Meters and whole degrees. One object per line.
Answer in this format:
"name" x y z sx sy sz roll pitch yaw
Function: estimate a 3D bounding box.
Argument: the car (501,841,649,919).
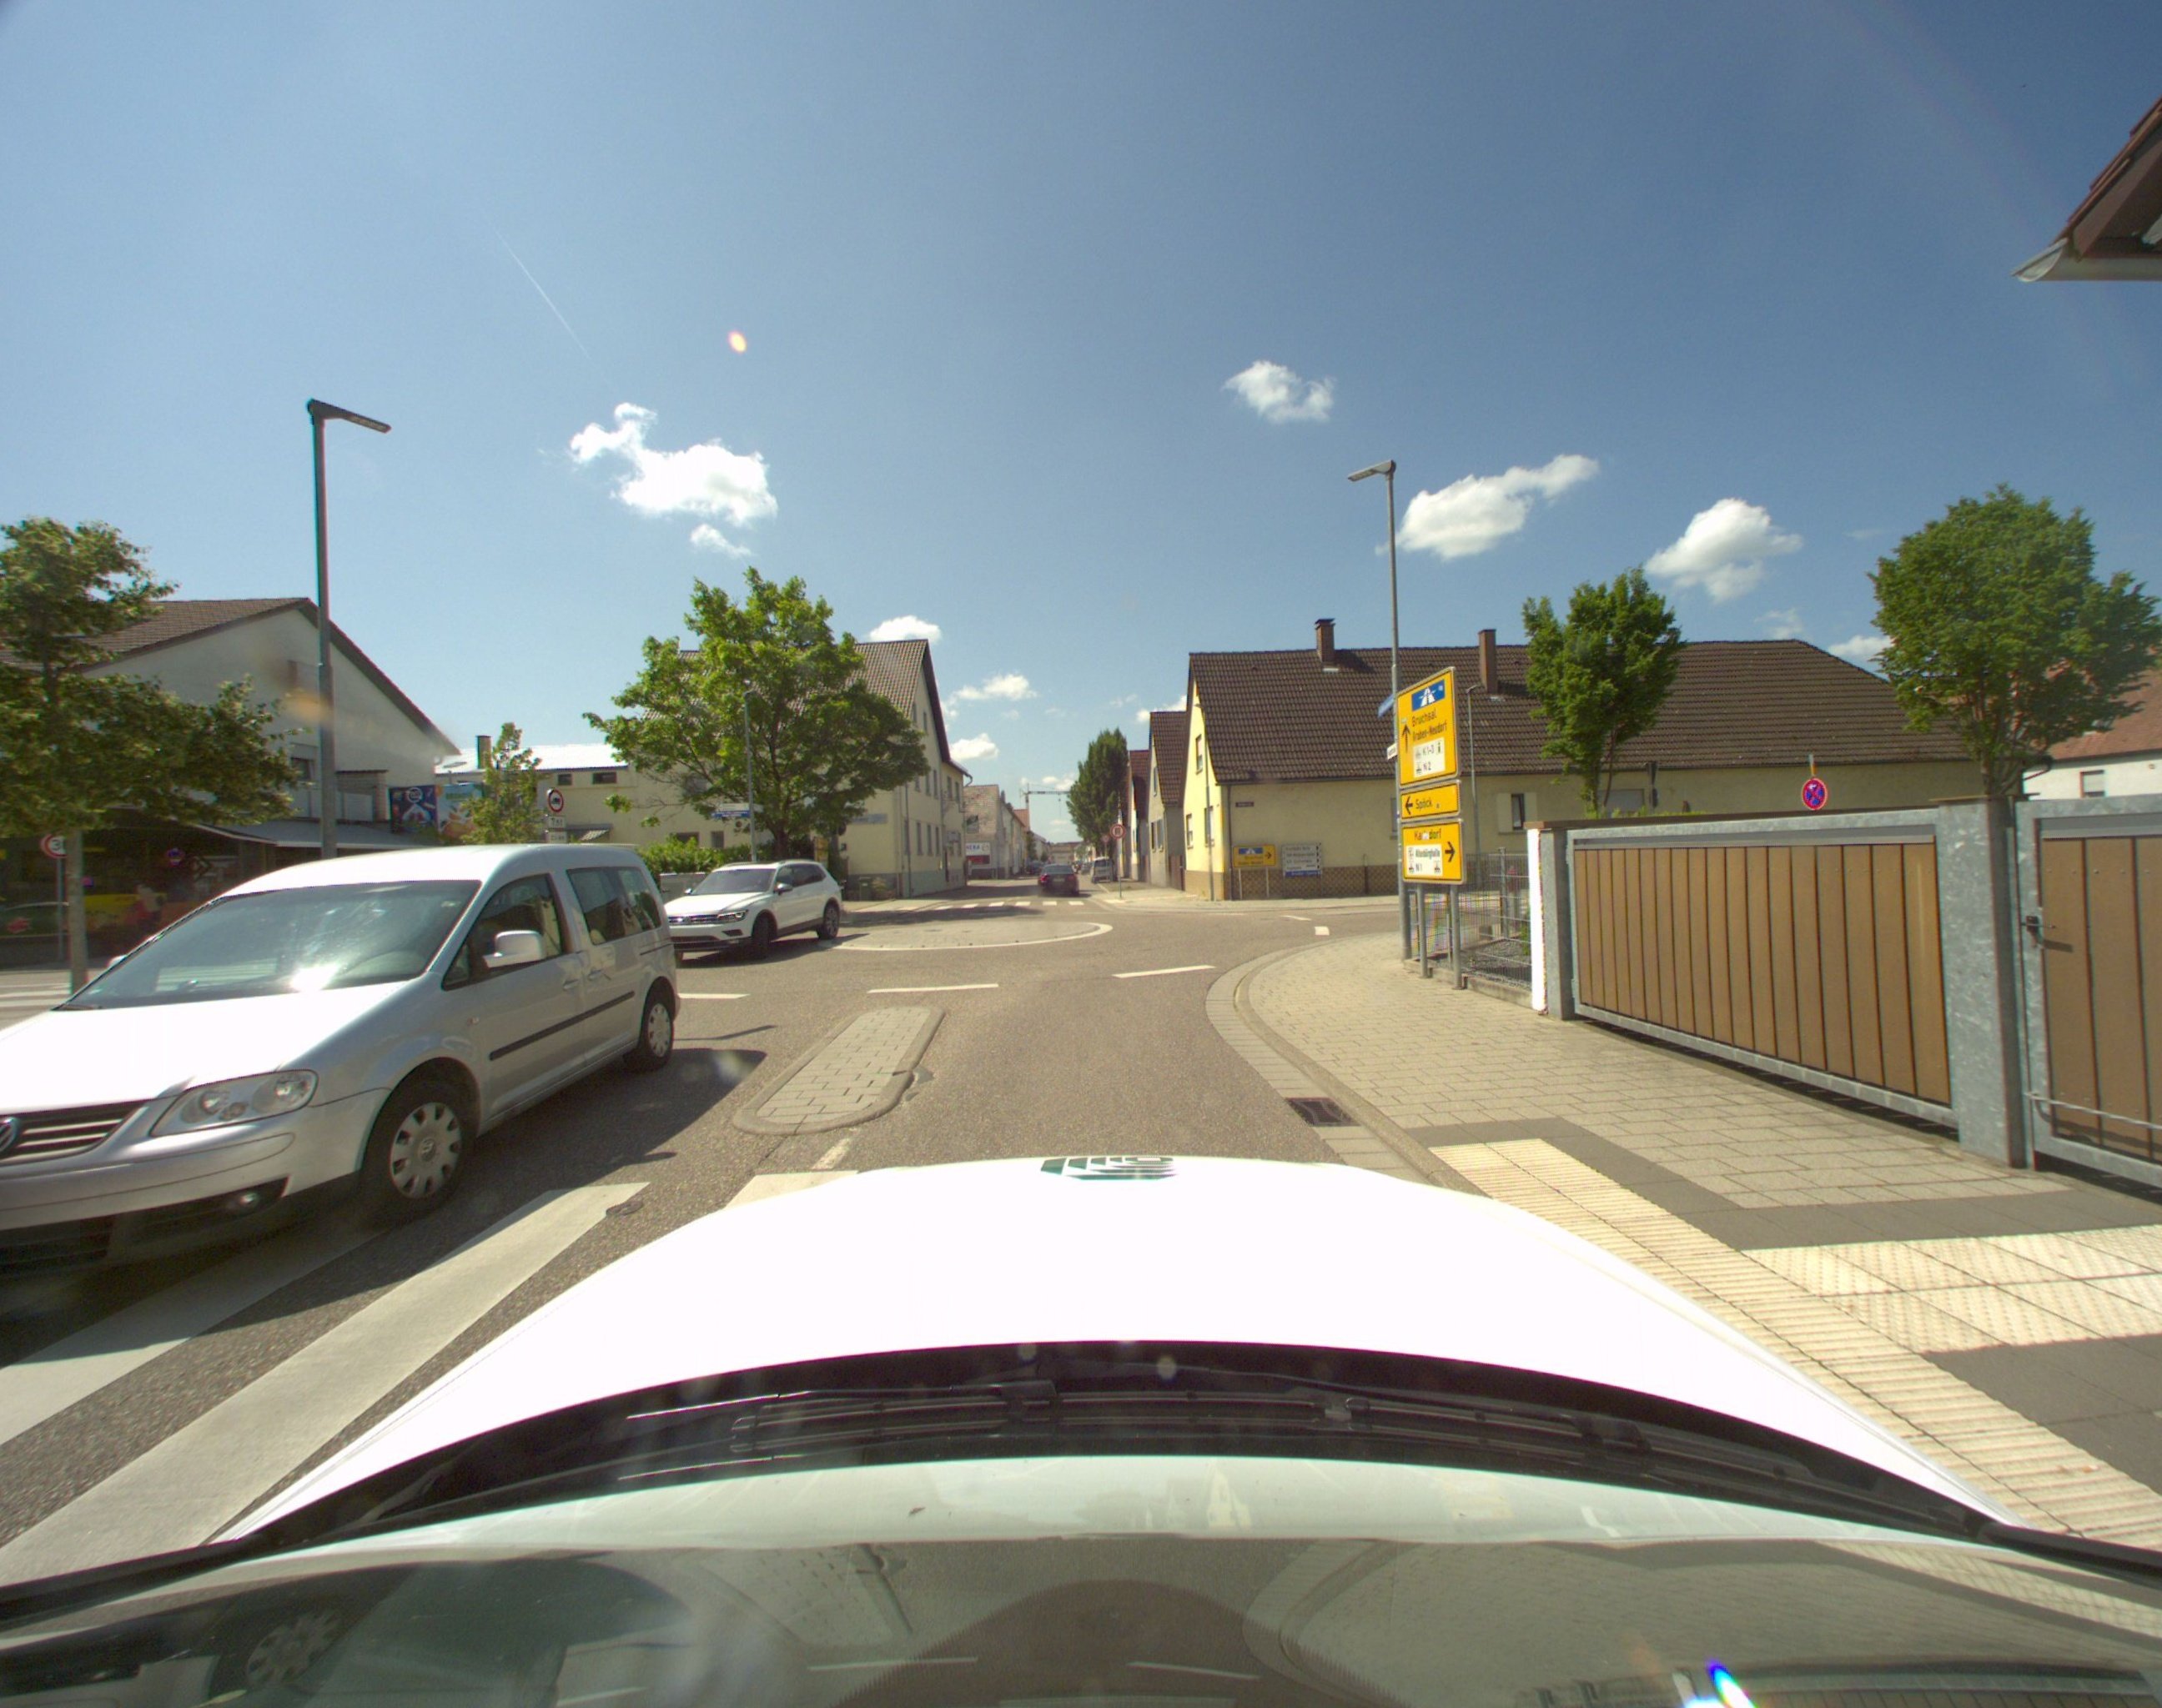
"car" -18.396 0.895 30.014 1.931 2.567 5.645 -1 0 0

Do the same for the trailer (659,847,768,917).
"trailer" -13.188 0.949 29.556 1.873 2.335 4.522 -1 0 -1

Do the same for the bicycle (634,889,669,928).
"bicycle" -12.934 1.618 24.582 0.400 1.003 1.974 -2 1 -13

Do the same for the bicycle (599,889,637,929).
"bicycle" -13.812 1.623 24.355 0.400 1.003 1.974 -2 1 -13

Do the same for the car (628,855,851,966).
"car" -6.108 0.915 15.289 1.857 1.710 4.549 -2 0 6

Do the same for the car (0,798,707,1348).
"car" -4.016 0.796 4.963 1.770 1.821 4.431 -4 0 -7

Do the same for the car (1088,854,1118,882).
"car" 1.551 0.963 57.622 1.716 1.790 4.139 -4 0 -3

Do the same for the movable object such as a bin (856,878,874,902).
"movable object such as a bin" -9.859 1.644 37.225 0.597 1.079 0.658 -2 -1 1

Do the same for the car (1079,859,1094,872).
"car" 0.636 1.326 94.377 1.714 1.461 4.156 -2 -1 1

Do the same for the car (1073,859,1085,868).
"car" -0.259 1.451 122.801 1.714 1.355 4.154 -2 -1 -1

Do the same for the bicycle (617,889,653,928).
"bicycle" -13.378 1.621 24.483 0.400 1.003 1.974 -2 1 -13

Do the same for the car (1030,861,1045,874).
"car" -5.816 1.751 108.607 1.804 1.589 3.997 -2 -1 -2

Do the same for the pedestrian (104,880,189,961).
"pedestrian" -22.495 1.581 19.633 0.779 1.825 1.022 -2 1 -2

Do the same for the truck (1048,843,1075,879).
"truck" -2.384 0.888 102.361 3.134 4.251 9.300 -1 -1 0

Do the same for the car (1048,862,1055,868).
"car" -7.397 2.753 203.604 1.804 1.589 3.997 -2 -1 -2

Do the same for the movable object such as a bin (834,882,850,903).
"movable object such as a bin" -10.891 1.750 37.115 0.477 0.928 0.547 -2 -1 1

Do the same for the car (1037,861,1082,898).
"car" -1.066 1.139 37.787 1.898 1.564 4.470 -2 0 -4

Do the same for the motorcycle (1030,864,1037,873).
"motorcycle" -6.152 1.910 104.691 0.844 1.170 2.467 0 -1 -2

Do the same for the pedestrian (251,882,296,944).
"pedestrian" -21.951 1.591 22.141 0.869 1.589 0.755 -1 1 41
